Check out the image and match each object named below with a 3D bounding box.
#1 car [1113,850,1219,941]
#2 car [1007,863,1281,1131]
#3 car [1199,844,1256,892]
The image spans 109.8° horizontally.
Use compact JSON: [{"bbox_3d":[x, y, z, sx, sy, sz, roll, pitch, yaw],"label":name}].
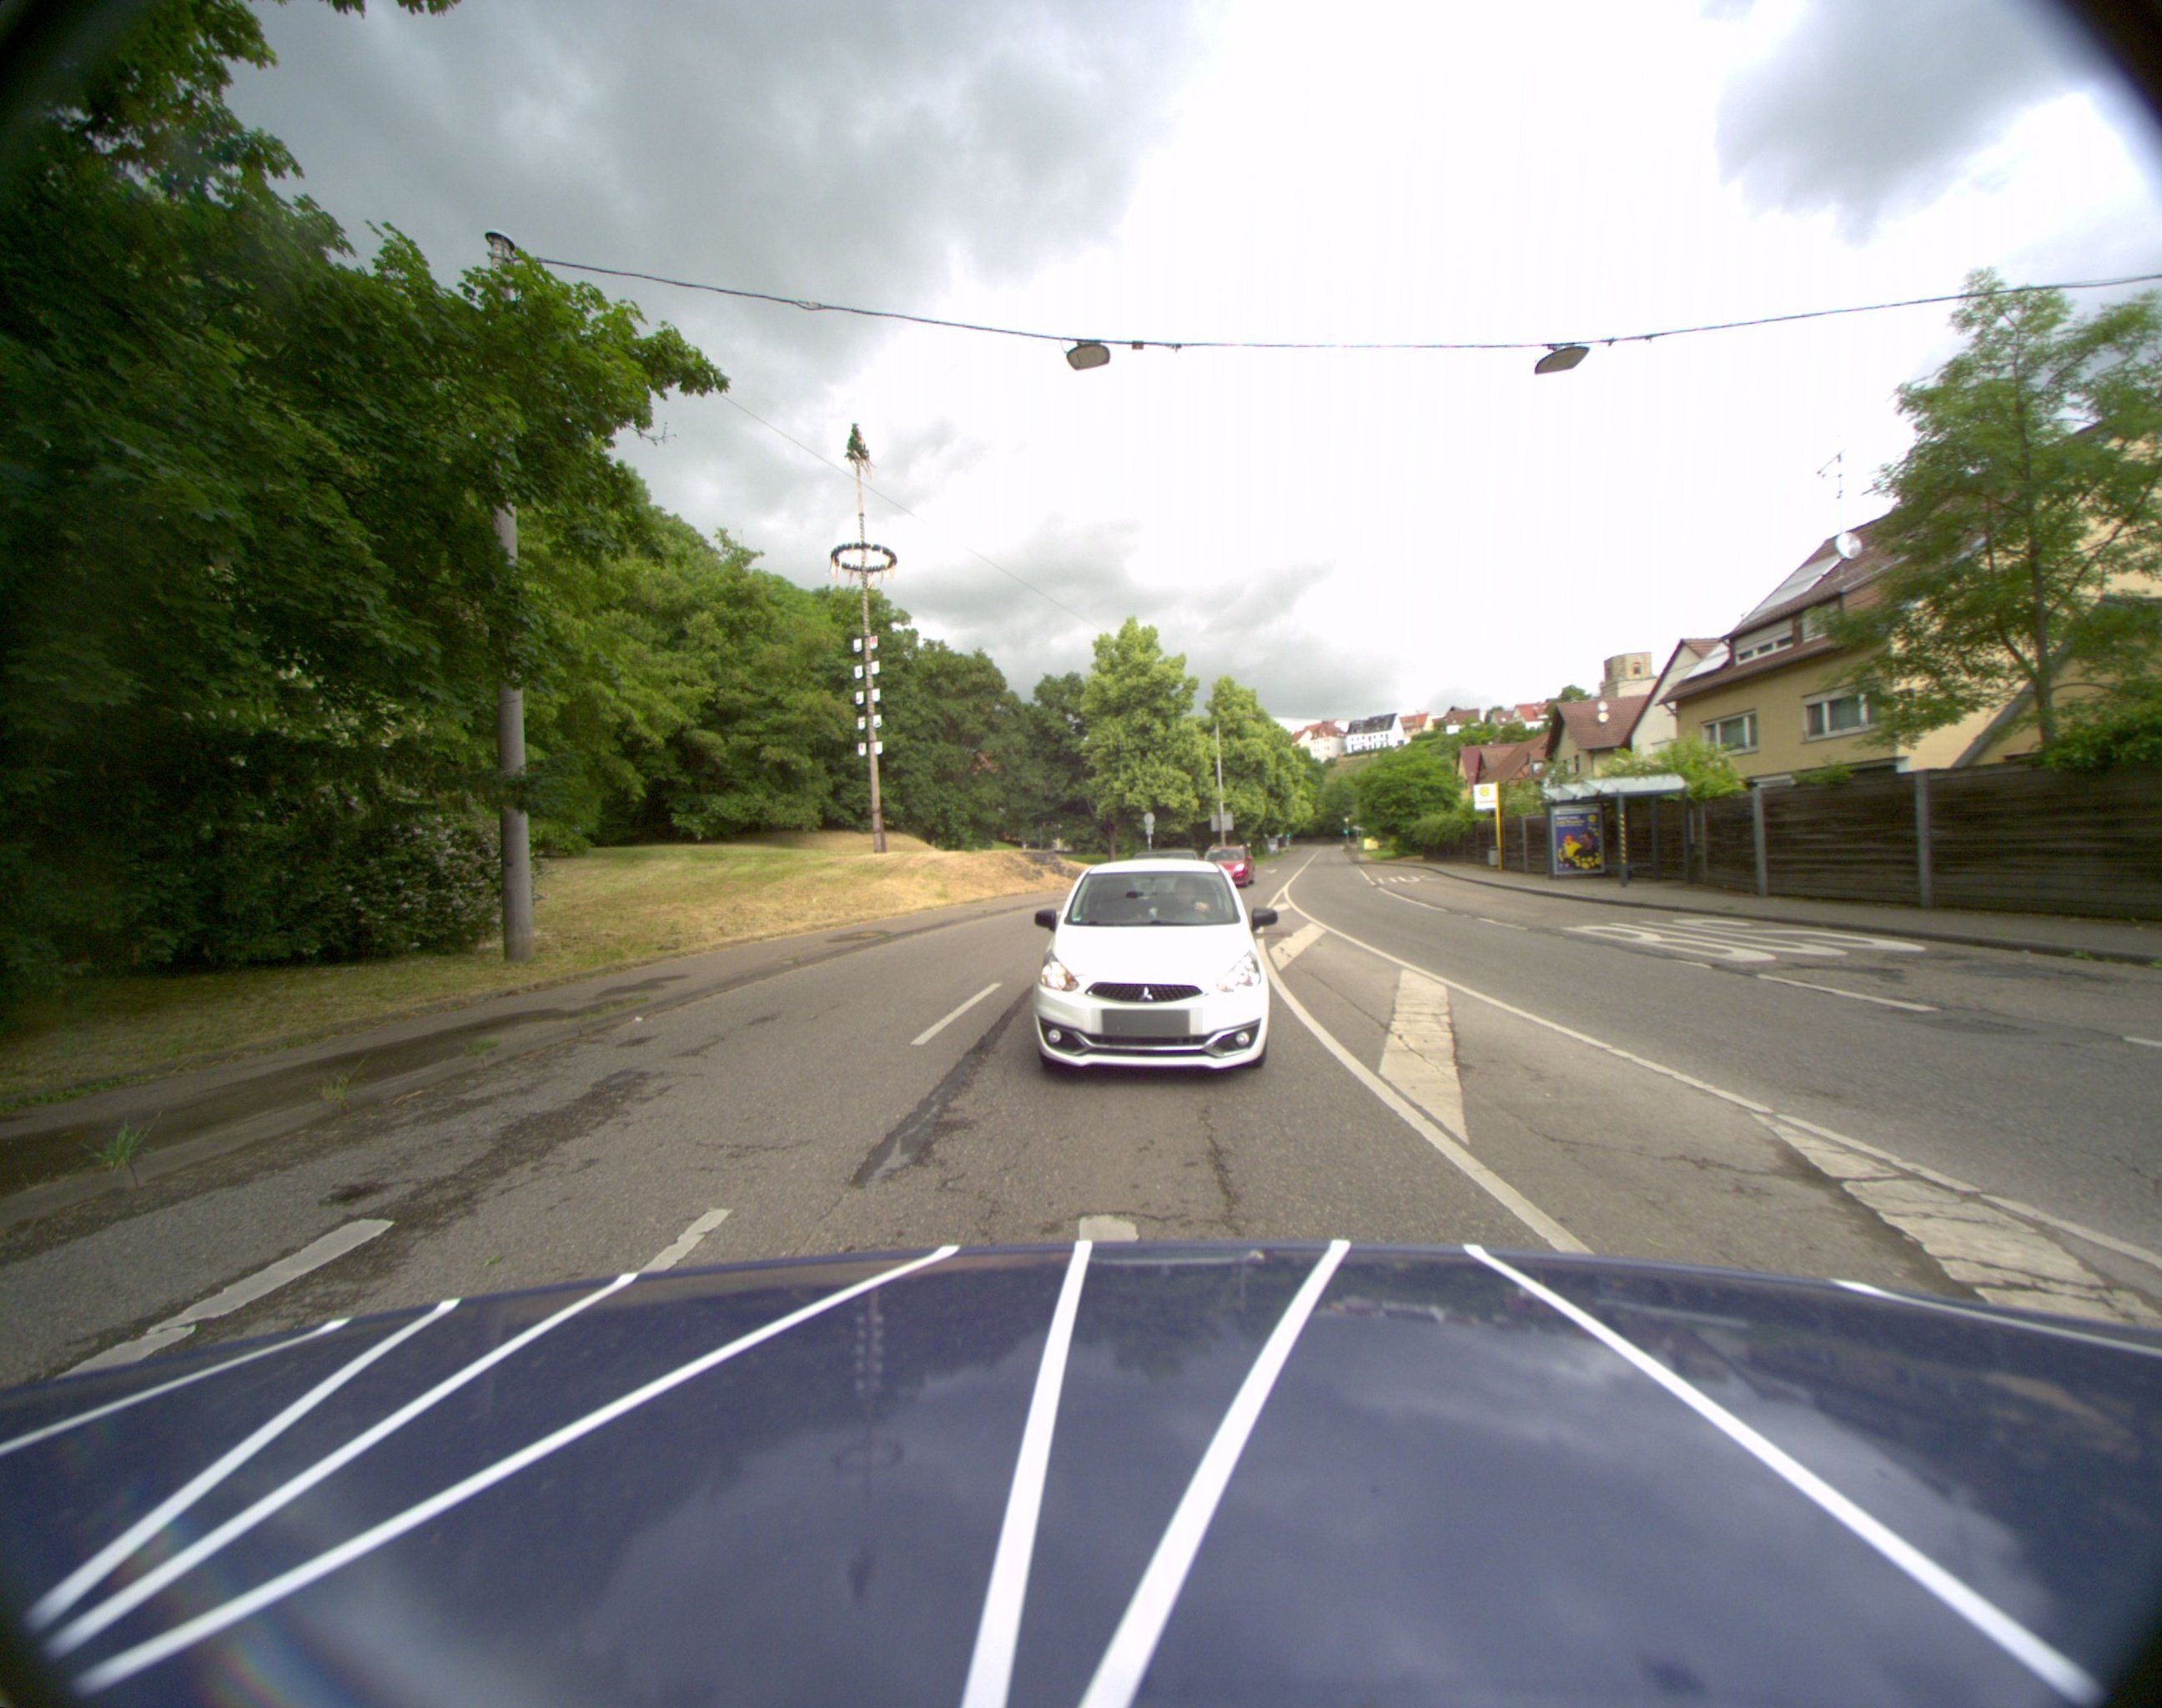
[{"bbox_3d":[1.858,0.751,15.529,1.723,1.539,3.785,-2,1,12],"label":"car"},{"bbox_3d":[0.643,0.910,6.429,1.617,1.505,3.607,-2,1,9],"label":"car"},{"bbox_3d":[5.865,0.502,30.079,1.826,1.662,4.062,-2,1,16],"label":"car"}]
